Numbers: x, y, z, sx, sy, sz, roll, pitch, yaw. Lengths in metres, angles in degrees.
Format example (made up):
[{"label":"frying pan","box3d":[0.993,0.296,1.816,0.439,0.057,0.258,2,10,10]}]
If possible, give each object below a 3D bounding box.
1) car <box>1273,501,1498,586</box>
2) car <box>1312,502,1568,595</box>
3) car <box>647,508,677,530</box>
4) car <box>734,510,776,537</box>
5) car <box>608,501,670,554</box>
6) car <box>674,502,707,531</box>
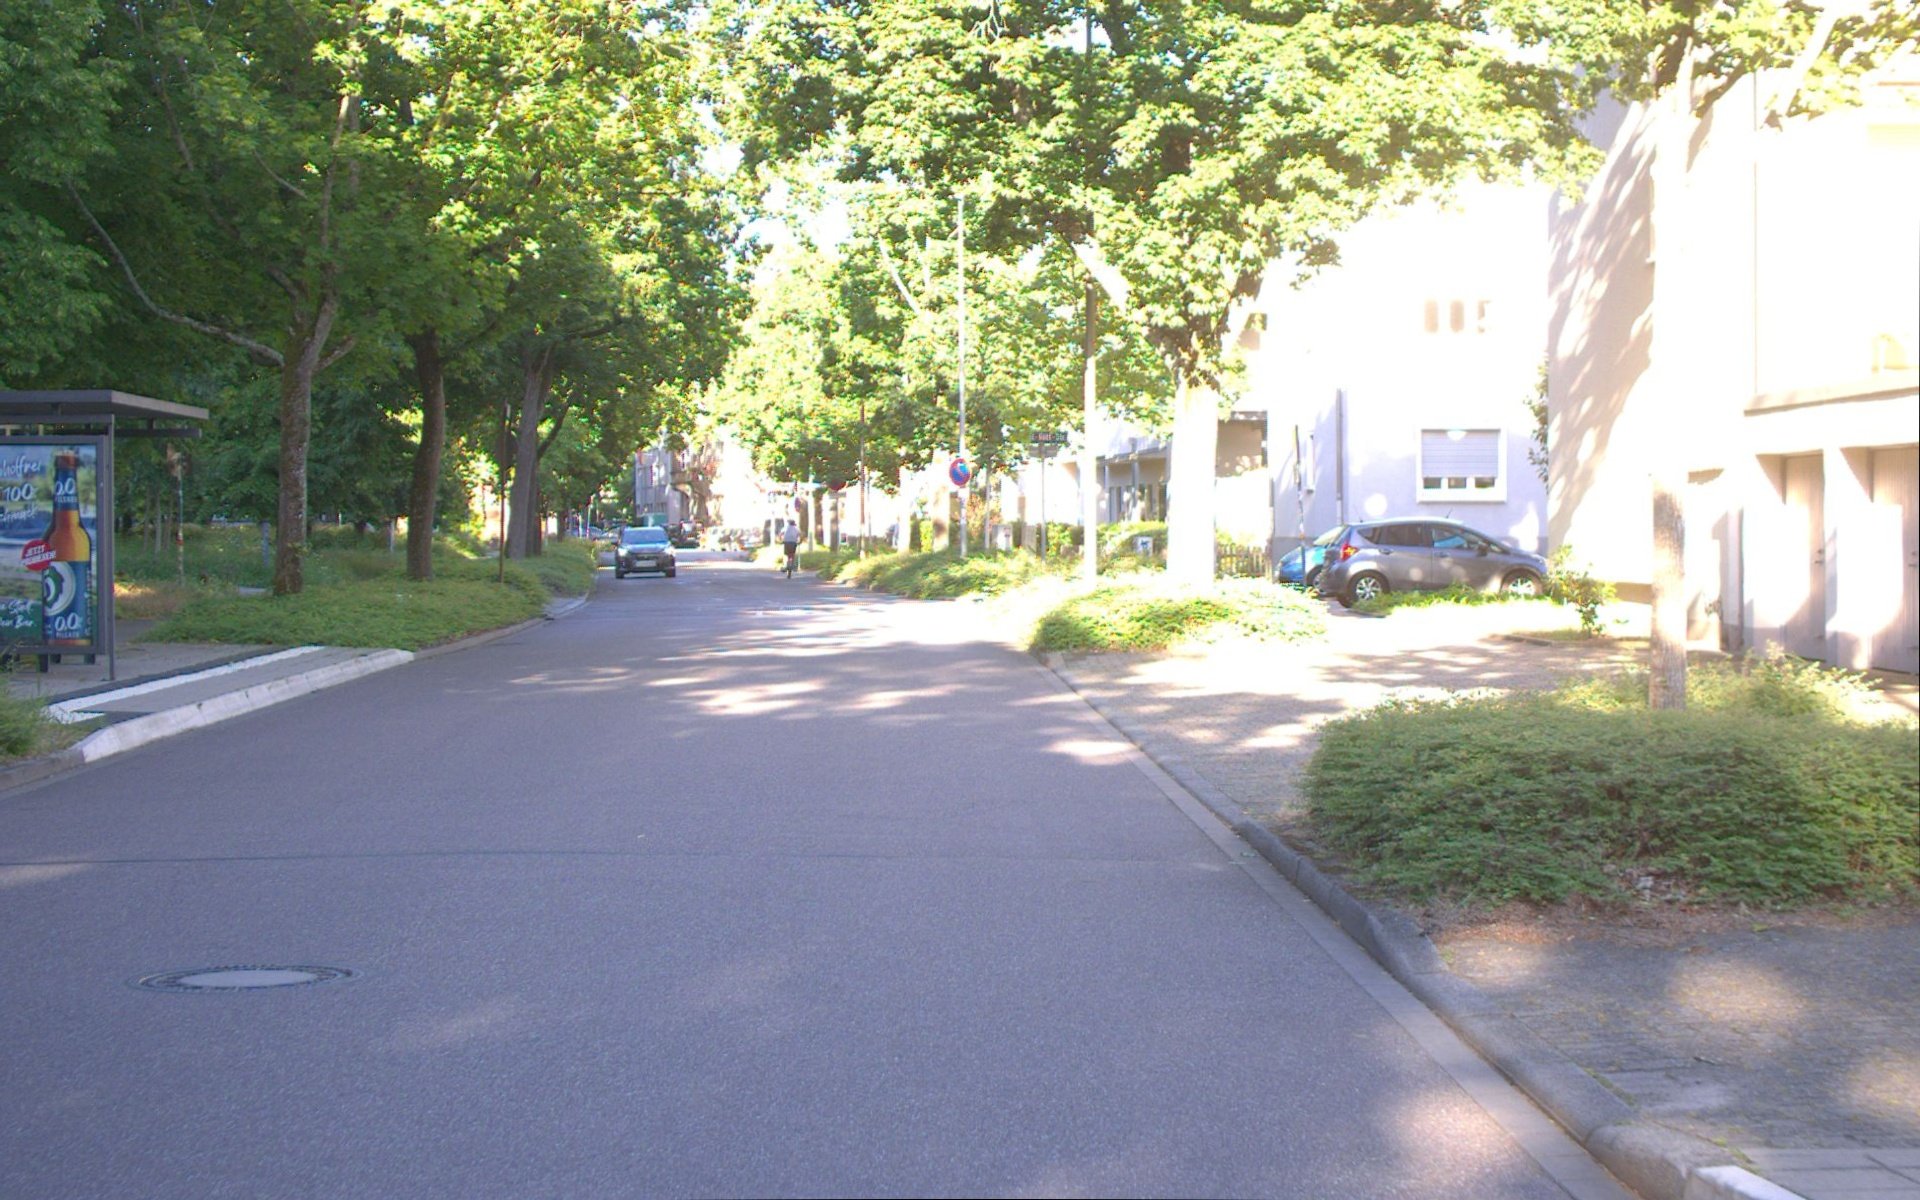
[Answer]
[{"label":"car","box3d":[8.189,-1.098,66.367,3.986,1.576,1.810,0,3,-6]},{"label":"car","box3d":[8.165,-0.874,58.659,4.040,1.509,1.727,1,0,-5]},{"label":"car","box3d":[-20.983,-5.694,242.022,1.811,1.496,4.001,1,1,-9]},{"label":"car","box3d":[-11.893,-4.436,199.350,1.811,1.496,4.001,-1,2,-13]},{"label":"car","box3d":[-9.959,-2.263,106.871,1.844,1.573,4.337,-2,2,-5]},{"label":"car","box3d":[-17.844,-5.533,227.570,1.811,1.919,4.001,1,1,-9]}]
